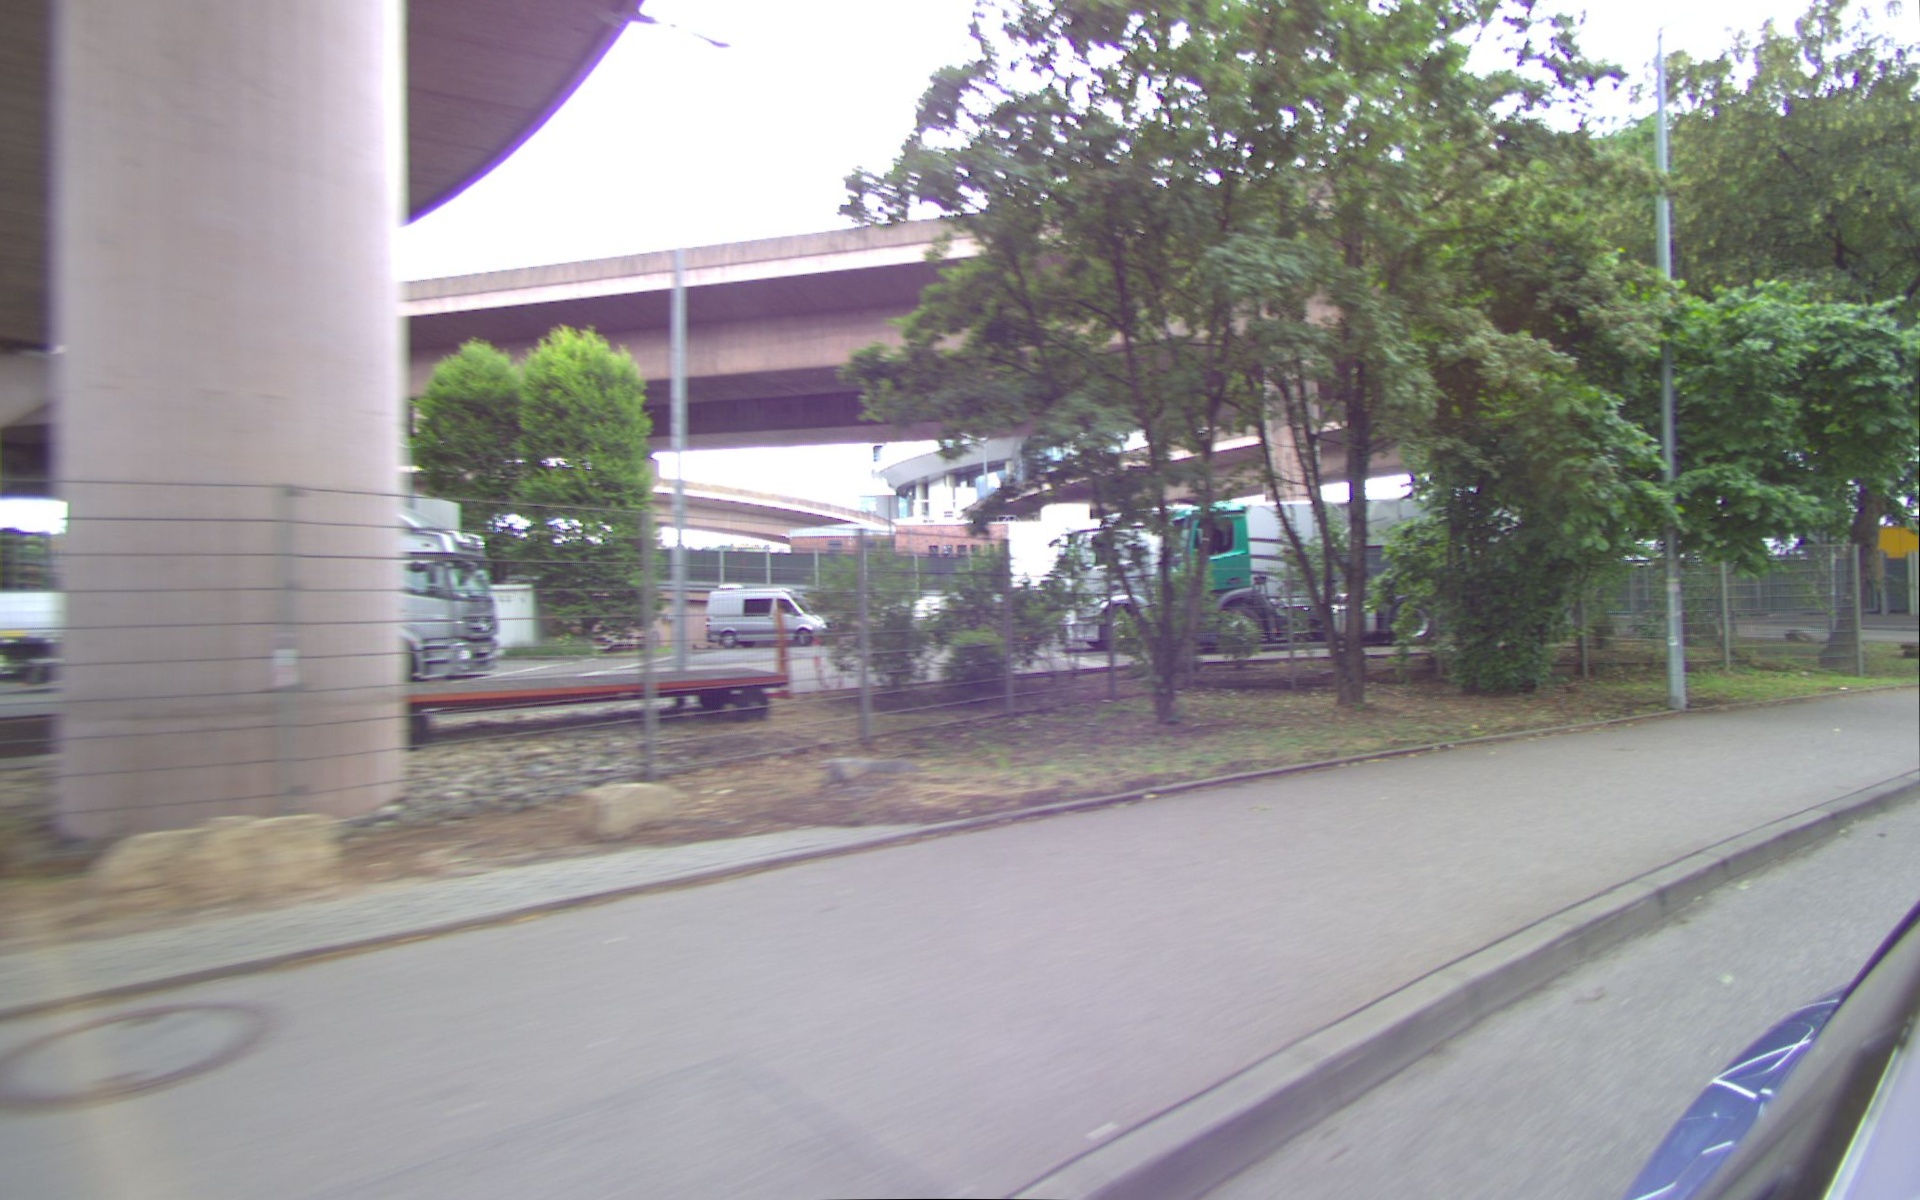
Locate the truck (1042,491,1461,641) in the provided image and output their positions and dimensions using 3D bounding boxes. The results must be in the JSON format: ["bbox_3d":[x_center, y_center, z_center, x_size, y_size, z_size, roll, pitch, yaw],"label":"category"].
[{"bbox_3d":[7.246,-0.870,25.742,10.013,3.542,2.273,-1,0,-4],"label":"truck"}]

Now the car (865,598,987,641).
[{"bbox_3d":[-1.409,0.831,42.814,4.802,1.728,2.085,-1,-2,14],"label":"car"}]

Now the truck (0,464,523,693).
[{"bbox_3d":[-15.168,-0.410,21.739,9.933,4.423,3.916,-1,-2,-5],"label":"truck"}]

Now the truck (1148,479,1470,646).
[{"bbox_3d":[7.585,-0.801,22.485,6.288,3.451,2.272,-1,0,-1],"label":"truck"}]

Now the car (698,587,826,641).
[{"bbox_3d":[-8.732,0.657,44.823,5.087,2.240,2.326,-1,-2,14],"label":"car"}]

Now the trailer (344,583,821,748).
[{"bbox_3d":[-3.717,0.532,10.264,4.296,1.348,1.607,-1,0,-31],"label":"trailer"}]
